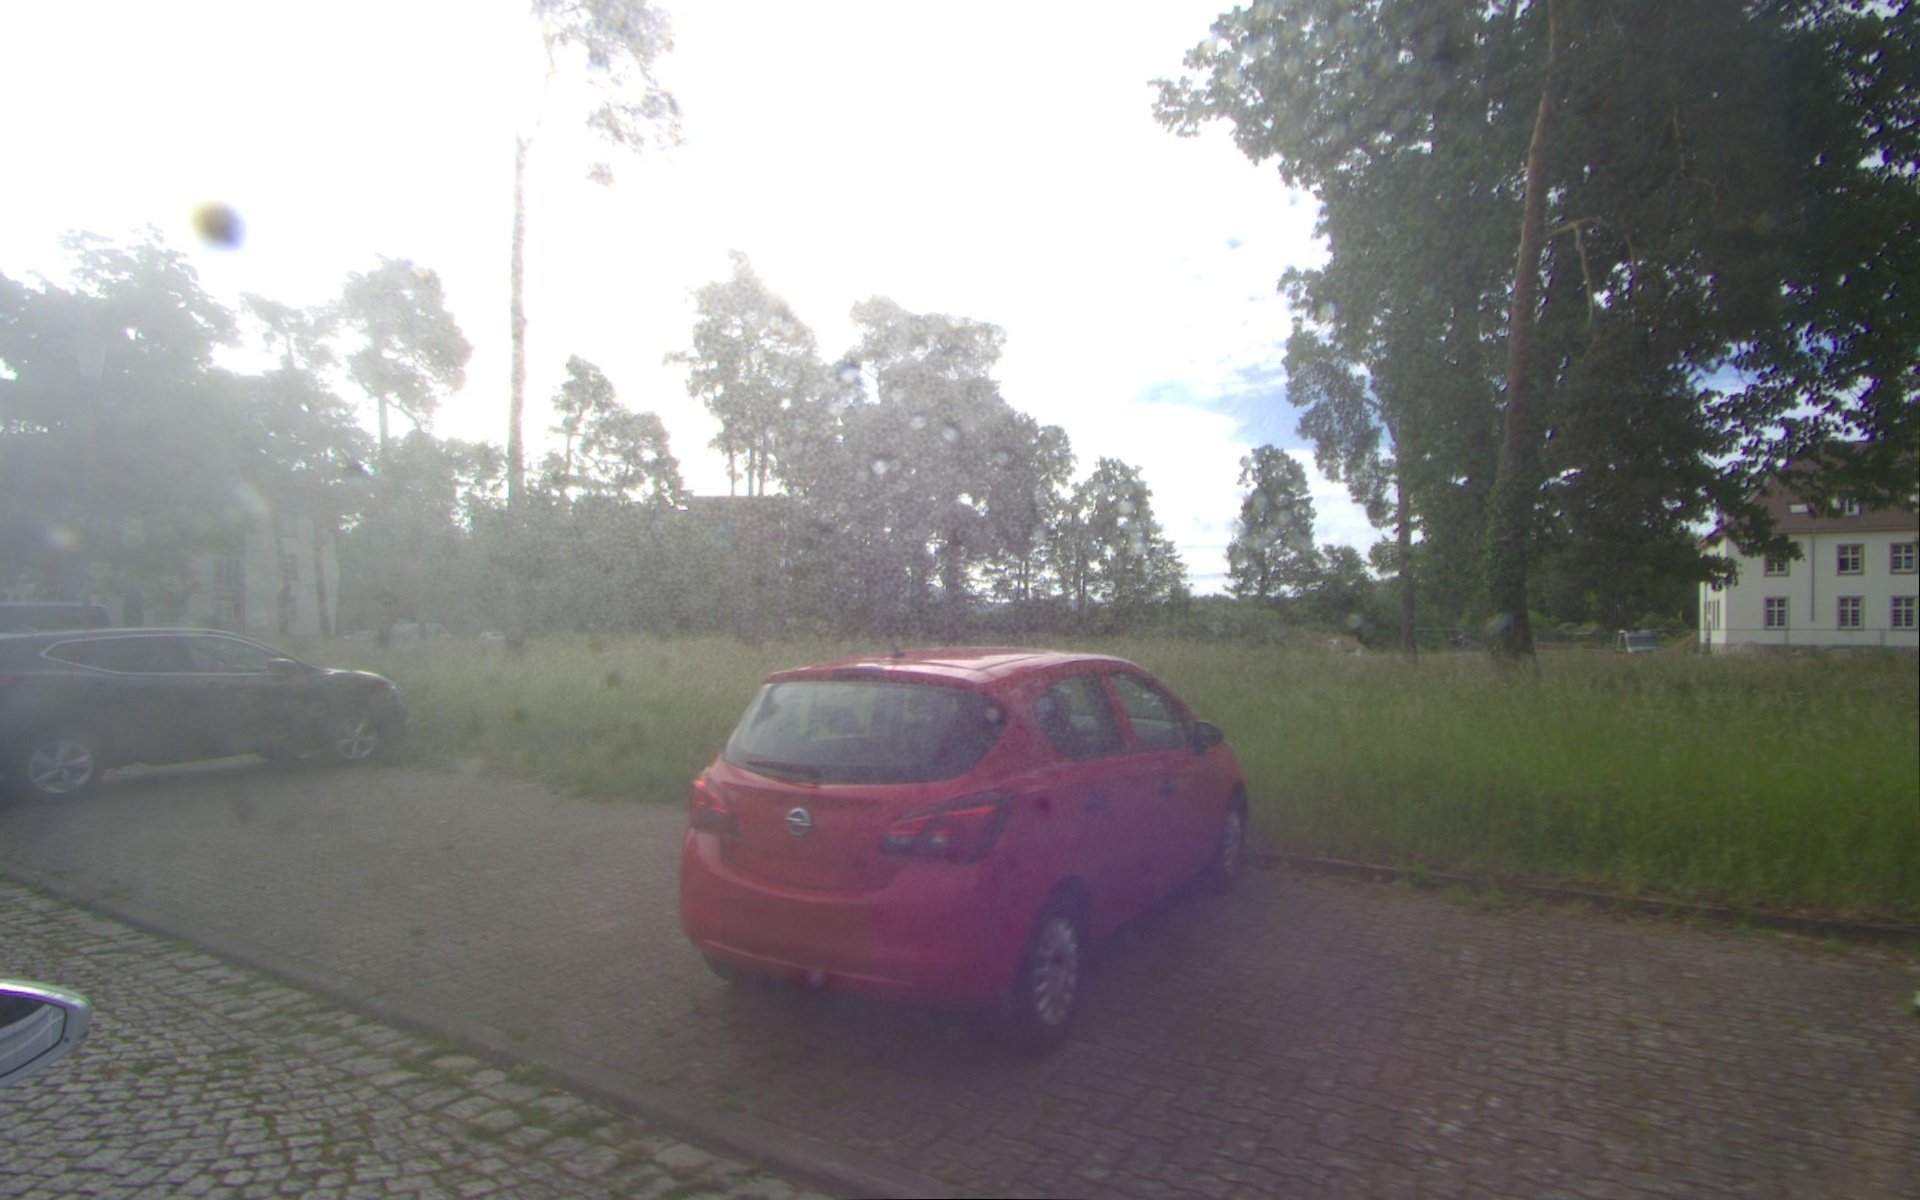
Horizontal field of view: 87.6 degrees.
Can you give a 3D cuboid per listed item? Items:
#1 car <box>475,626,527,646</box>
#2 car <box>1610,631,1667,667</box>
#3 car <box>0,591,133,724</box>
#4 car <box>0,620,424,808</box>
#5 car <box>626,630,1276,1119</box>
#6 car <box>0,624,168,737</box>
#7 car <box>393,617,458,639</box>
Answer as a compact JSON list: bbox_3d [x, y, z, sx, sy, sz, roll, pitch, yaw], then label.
[{"bbox_3d":[-43.571,3.446,95.080,1.873,1.826,4.127,-1,-3,33],"label":"car"},{"bbox_3d":[52.921,3.861,78.214,2.237,2.673,5.676,0,-3,19],"label":"car"},{"bbox_3d":[-15.838,0.867,15.141,1.936,2.030,4.791,0,-1,29],"label":"car"},{"bbox_3d":[-8.294,1.026,10.667,1.923,1.615,4.199,0,-1,29],"label":"car"},{"bbox_3d":[0.363,0.944,5.357,1.758,1.516,3.919,0,-1,30],"label":"car"},{"bbox_3d":[-13.722,1.096,13.796,1.695,1.498,4.095,0,-1,28],"label":"car"},{"bbox_3d":[-53.147,2.797,99.679,2.075,2.044,5.294,-1,-3,32],"label":"car"}]
